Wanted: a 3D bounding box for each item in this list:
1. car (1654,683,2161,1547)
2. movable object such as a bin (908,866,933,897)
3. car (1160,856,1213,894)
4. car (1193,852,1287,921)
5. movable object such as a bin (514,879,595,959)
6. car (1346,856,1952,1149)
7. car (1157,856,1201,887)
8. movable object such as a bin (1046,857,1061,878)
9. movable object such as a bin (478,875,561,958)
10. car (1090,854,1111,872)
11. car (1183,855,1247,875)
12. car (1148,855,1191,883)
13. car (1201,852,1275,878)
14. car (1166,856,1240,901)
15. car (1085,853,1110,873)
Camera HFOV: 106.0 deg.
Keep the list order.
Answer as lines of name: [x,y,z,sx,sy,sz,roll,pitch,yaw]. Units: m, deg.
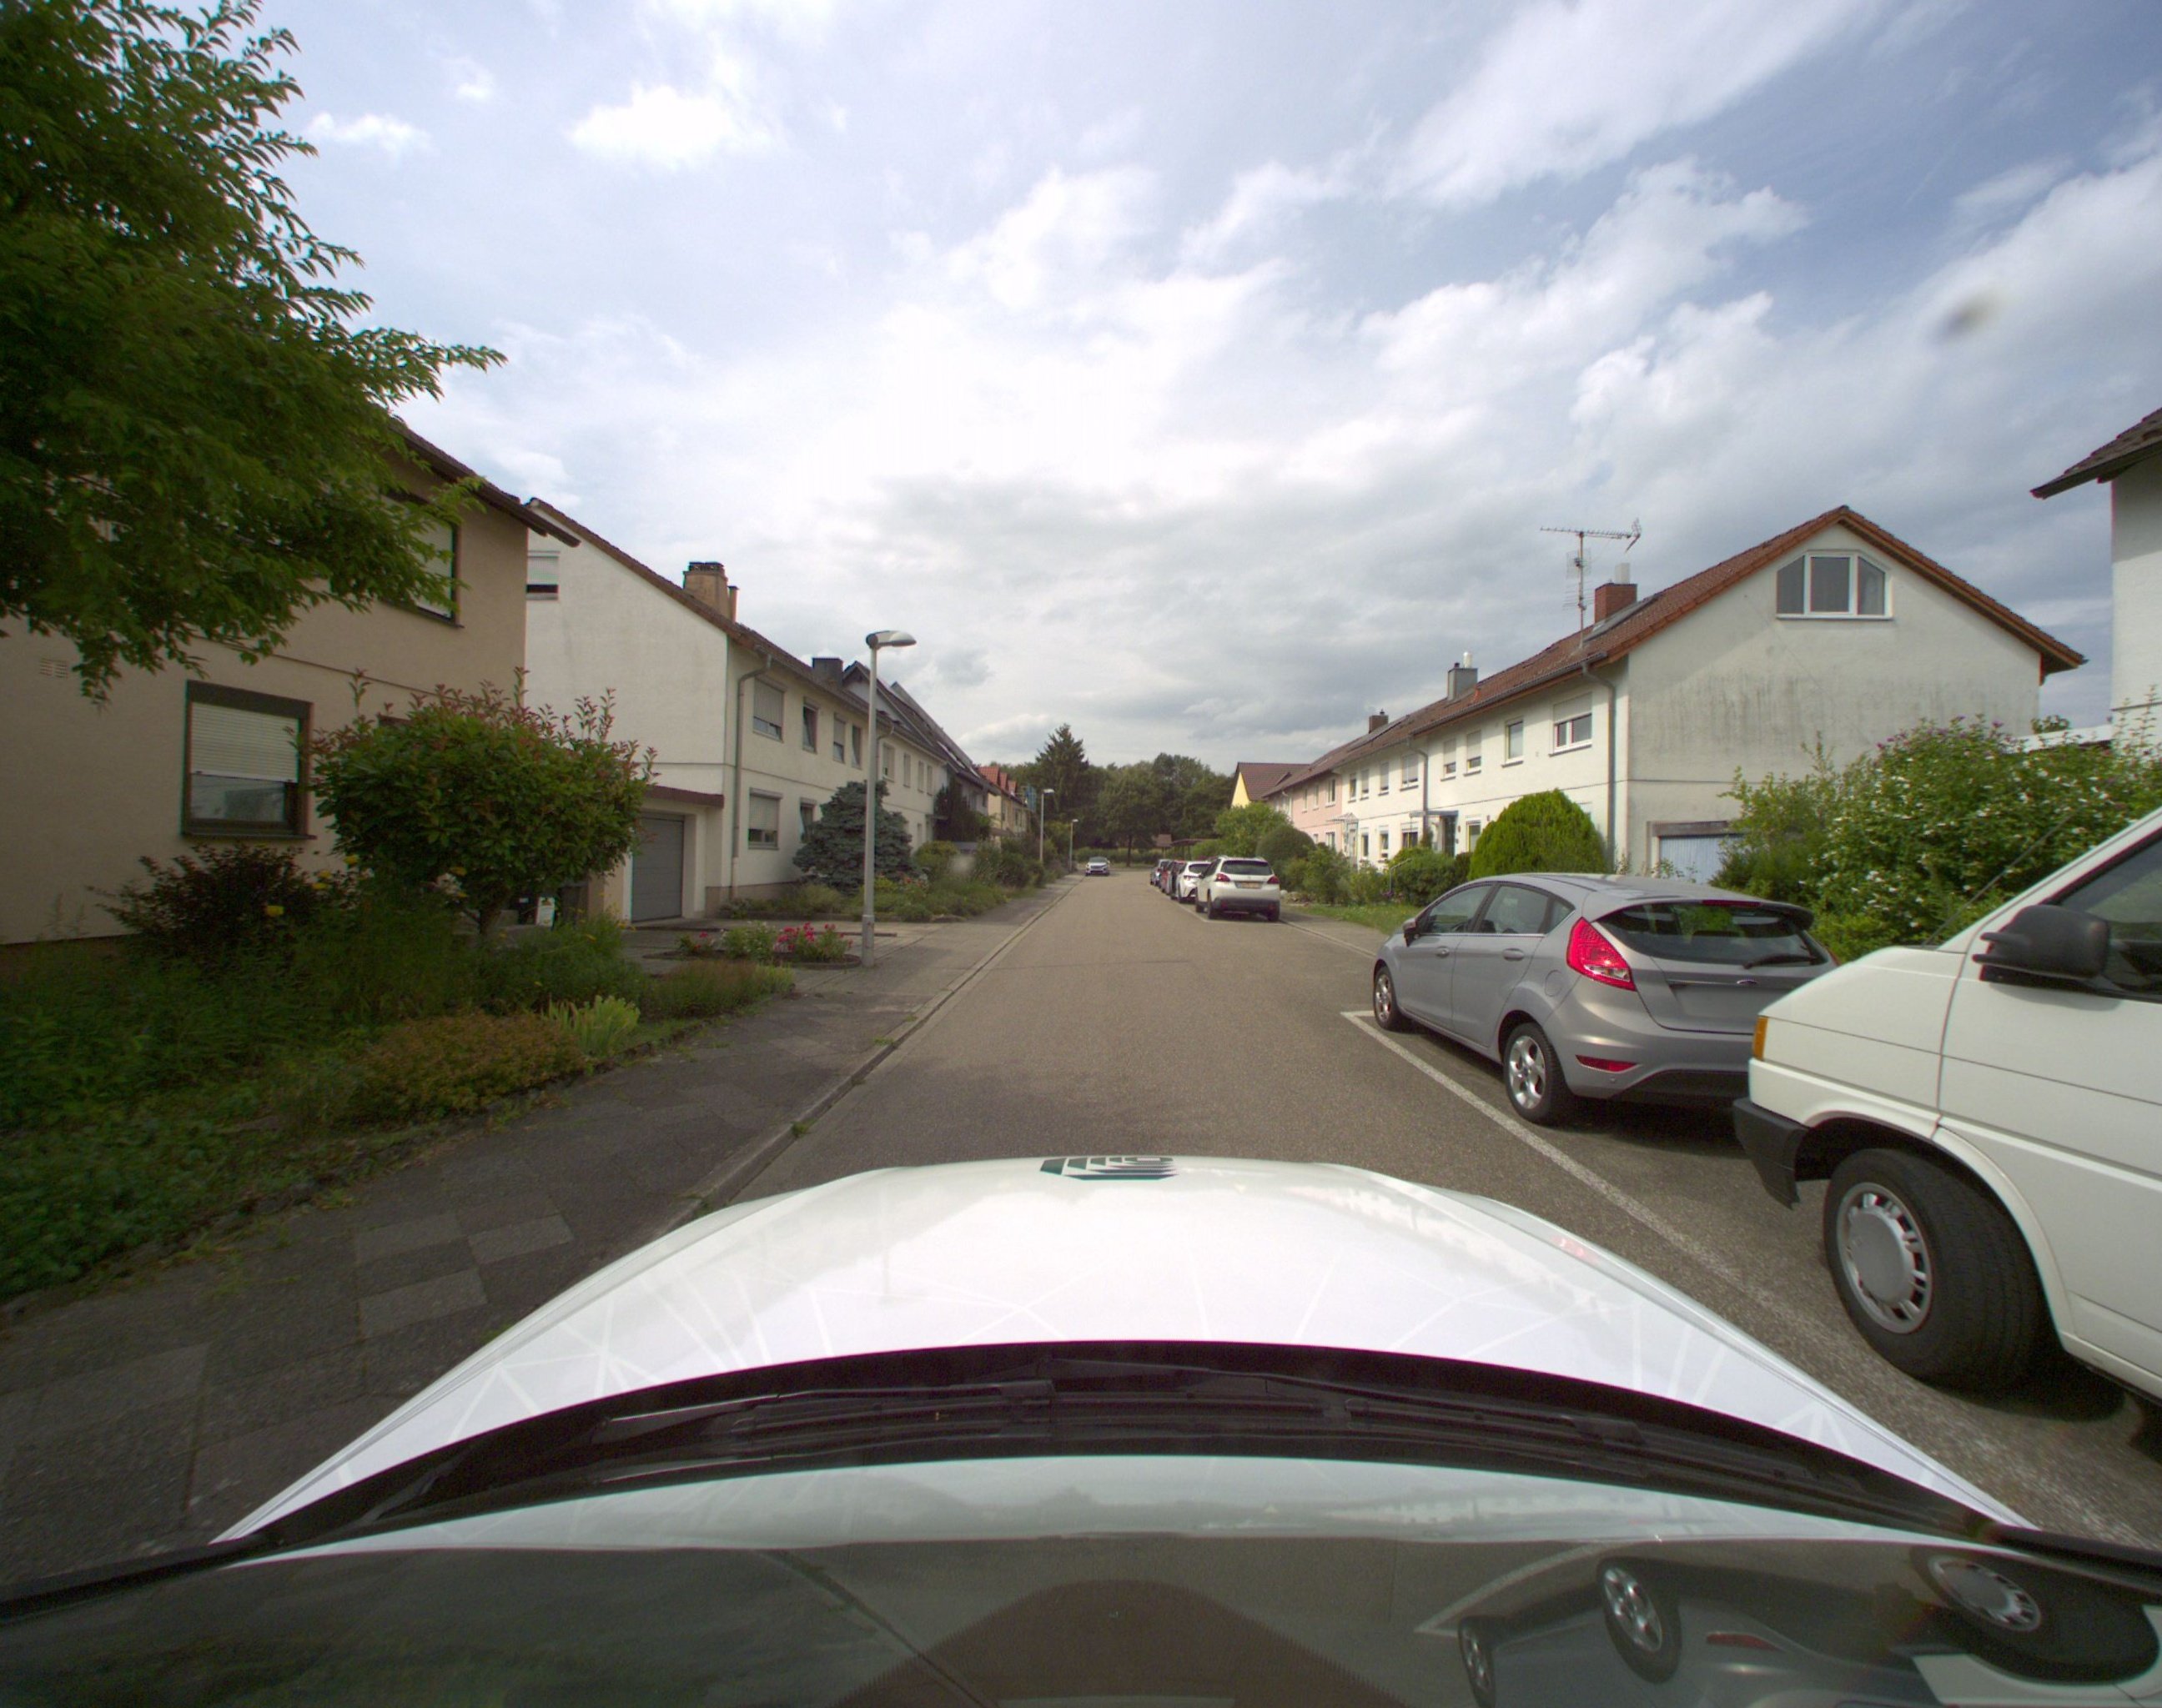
car: [3.443,0.592,1.108,2.014,1.947,4.747,0,0,0]
movable object such as a bin: [-5.254,0.891,26.639,0.672,1.007,0.598,0,0,2]
car: [4.369,0.830,34.328,1.767,1.436,4.828,3,0,2]
car: [3.995,0.754,21.031,1.707,1.543,3.975,3,0,2]
movable object such as a bin: [-7.004,0.848,10.854,0.650,1.021,0.633,0,0,1]
car: [3.556,0.756,6.212,1.893,1.459,4.132,0,0,2]
car: [4.664,0.806,39.159,1.766,1.356,4.268,0,0,2]
movable object such as a bin: [-1.821,0.886,53.867,0.946,1.312,1.001,0,0,1]
movable object such as a bin: [-7.031,0.770,10.212,0.650,1.003,0.542,0,0,1]
car: [1.746,0.755,71.058,1.803,1.562,4.850,0,0,2]
car: [9.872,0.812,60.262,4.435,1.433,2.027,0,0,0]
car: [4.817,0.808,44.658,1.859,1.417,4.252,1,0,0]
car: [9.672,0.664,50.354,4.253,1.560,1.936,0,0,2]
car: [4.133,0.779,28.314,1.832,1.413,4.635,0,0,-1]
car: [1.351,0.718,65.665,1.926,1.556,4.637,0,0,2]
